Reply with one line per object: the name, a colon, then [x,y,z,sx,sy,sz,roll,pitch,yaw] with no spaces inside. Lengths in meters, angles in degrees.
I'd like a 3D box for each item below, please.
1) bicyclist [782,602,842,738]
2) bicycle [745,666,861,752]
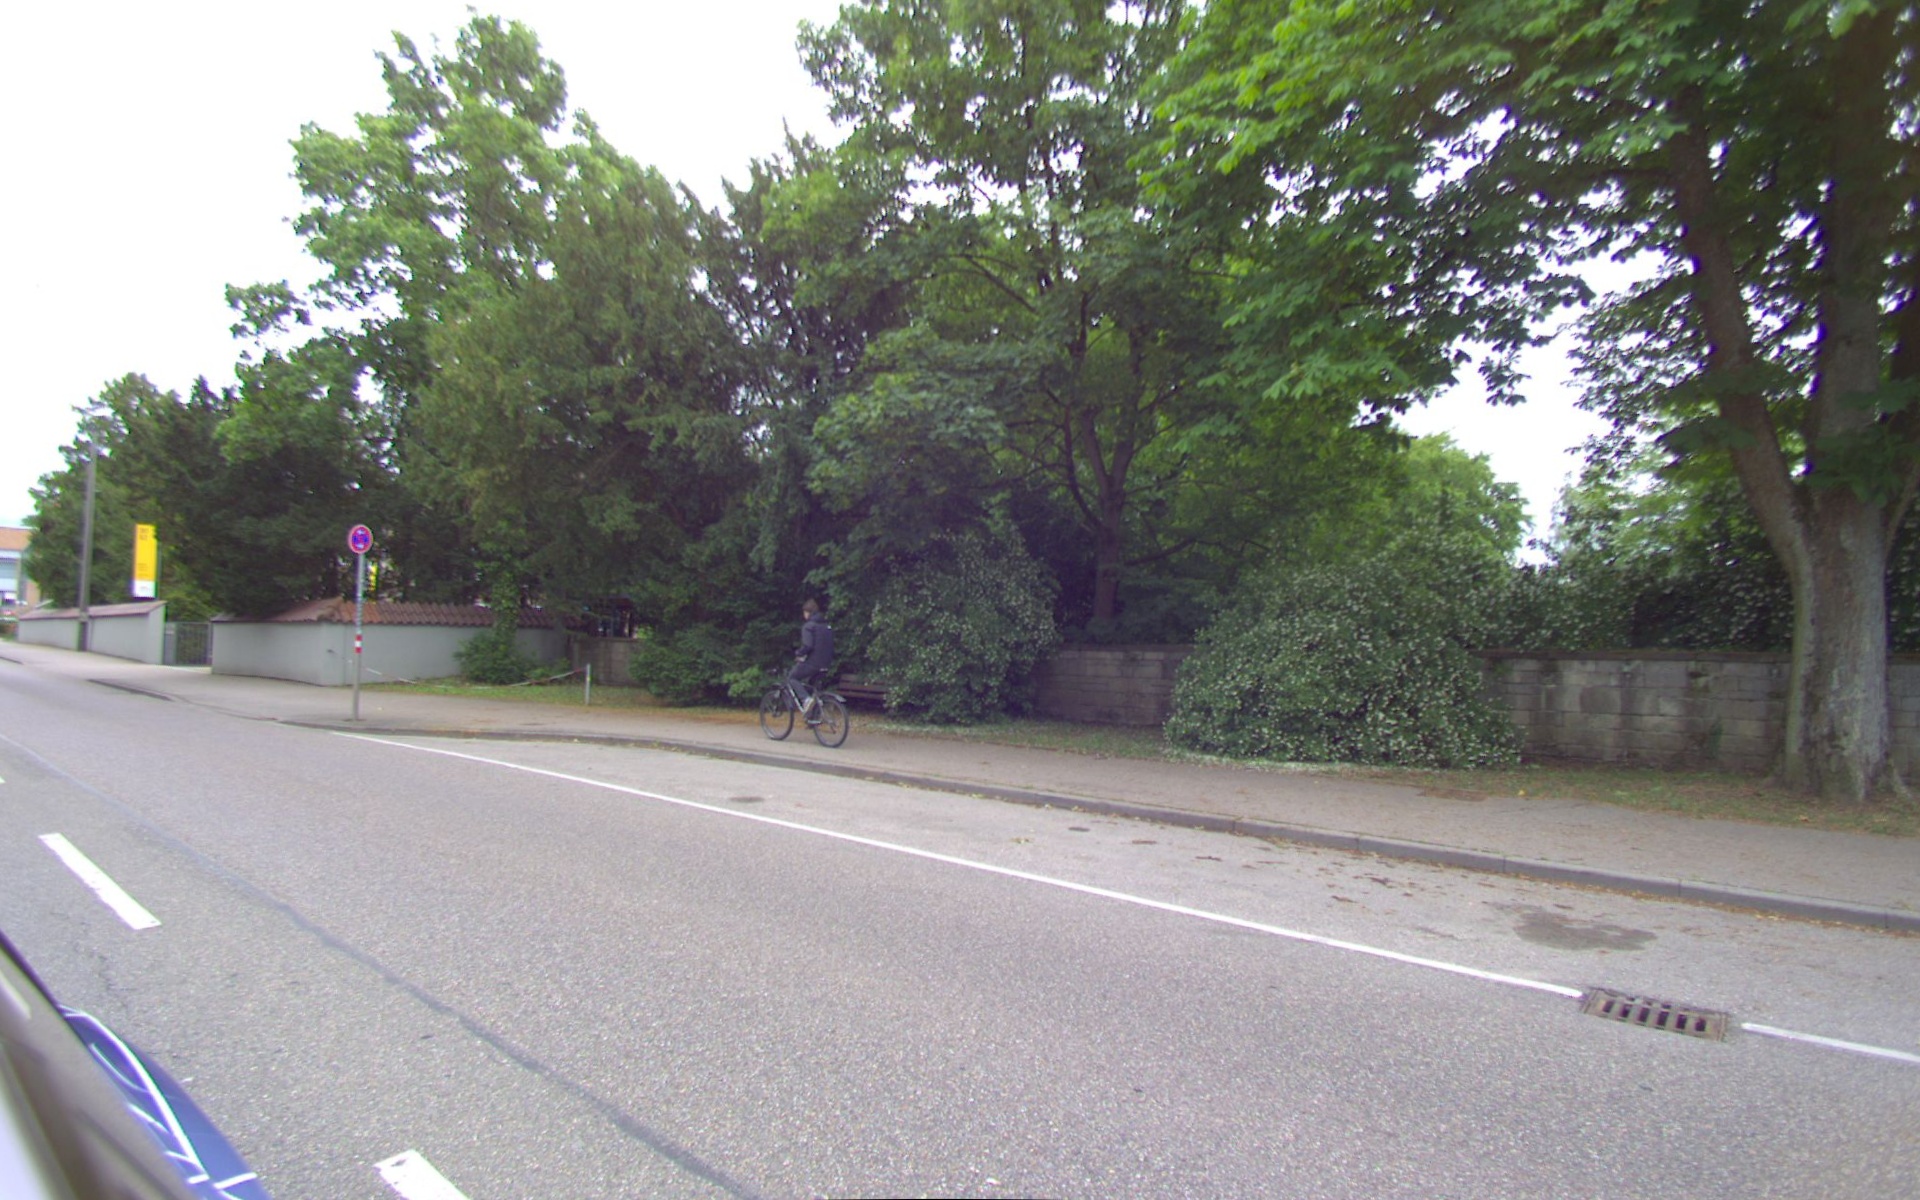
bicyclist: [-1.916,0.884,13.062,0.588,1.697,0.482,-1,0,41]
bicycle: [-2.071,1.390,13.204,1.747,0.972,0.490,-1,0,41]
